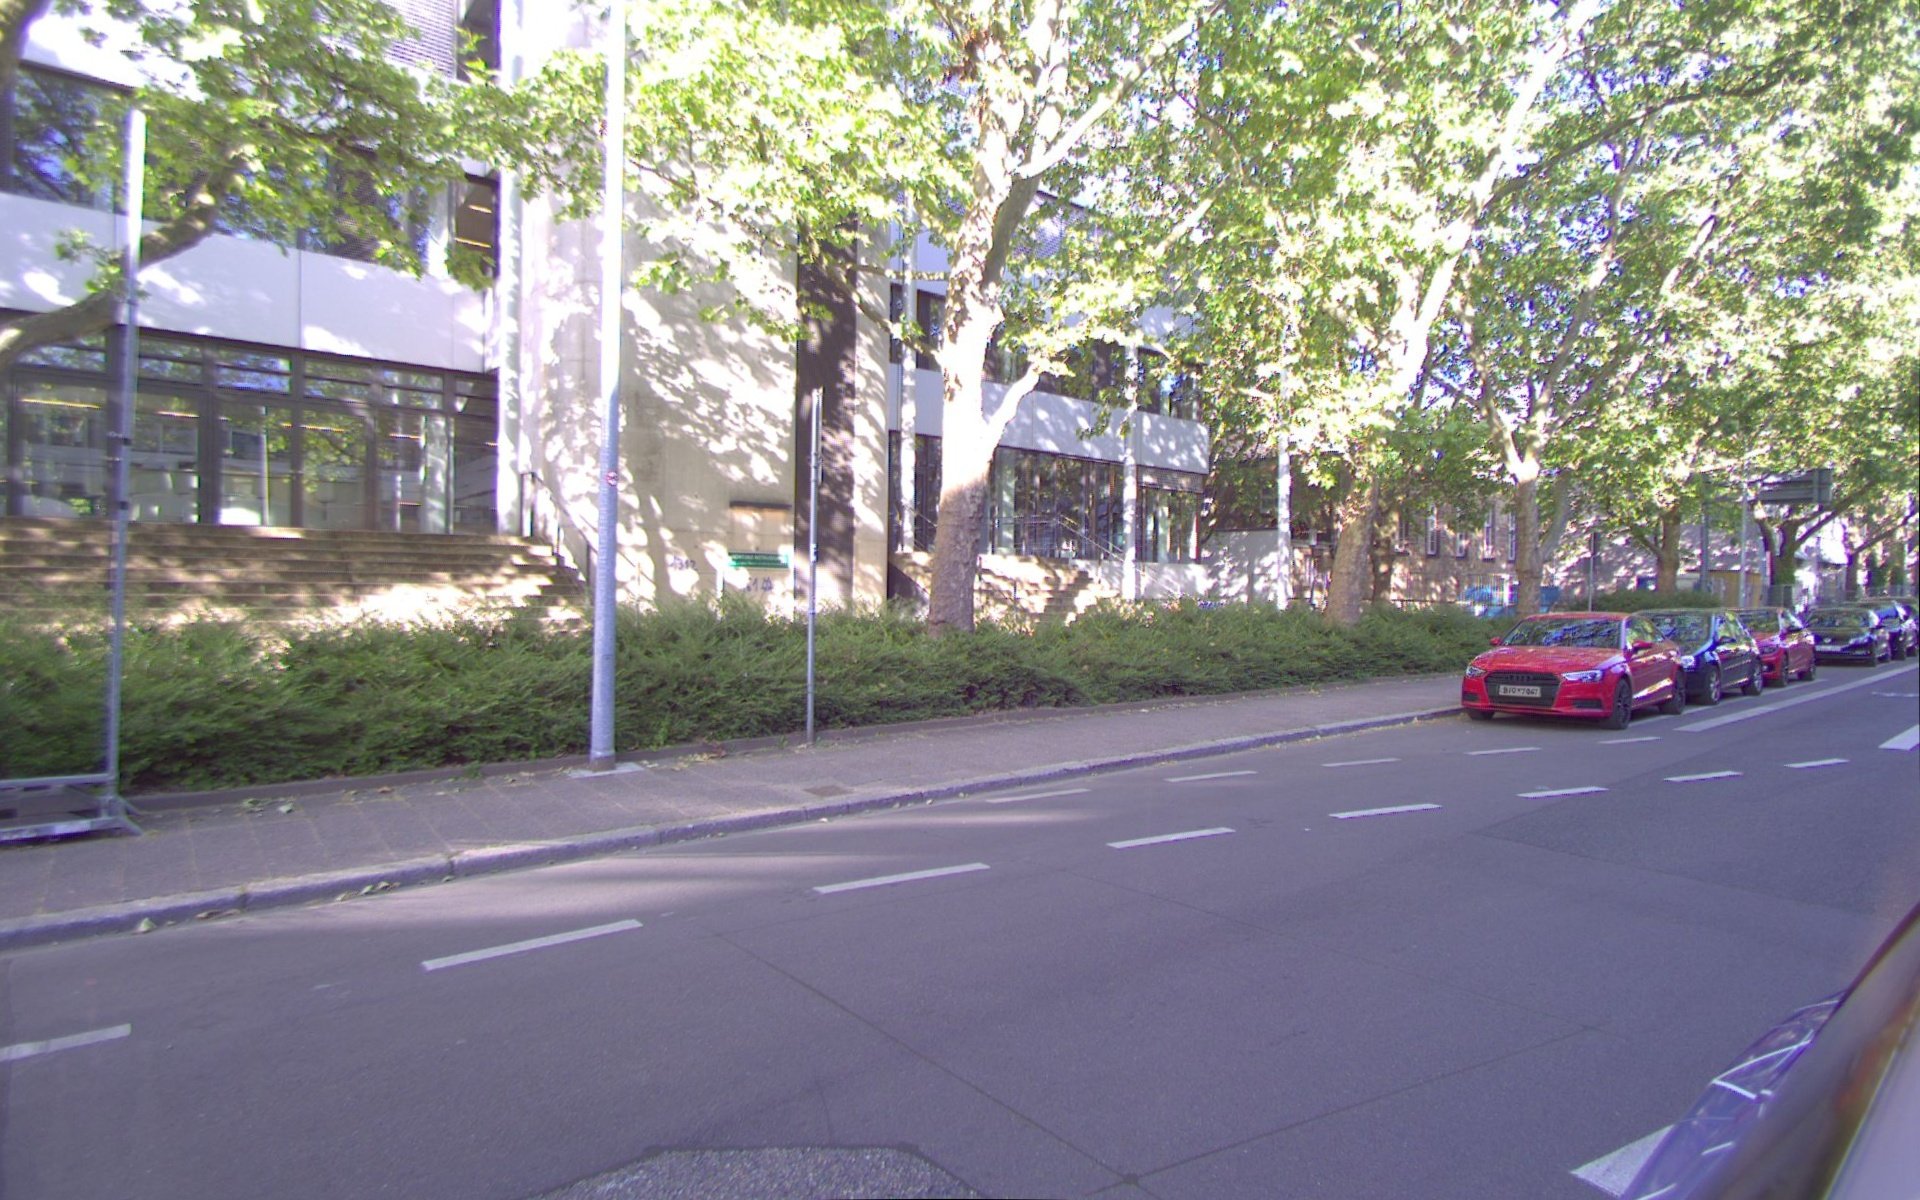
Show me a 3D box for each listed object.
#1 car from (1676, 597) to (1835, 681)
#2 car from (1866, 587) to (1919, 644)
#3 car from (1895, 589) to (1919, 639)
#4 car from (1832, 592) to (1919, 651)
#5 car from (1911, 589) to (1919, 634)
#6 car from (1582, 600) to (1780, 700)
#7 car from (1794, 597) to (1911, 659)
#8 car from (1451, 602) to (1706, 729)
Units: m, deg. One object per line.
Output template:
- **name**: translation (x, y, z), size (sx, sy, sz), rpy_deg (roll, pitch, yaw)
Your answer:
- **car**: translation (15.862, 0.696, 20.104), size (4.092, 1.502, 1.815), rpy_deg (0, -1, -42)
- **car**: translation (31.059, 0.483, 33.011), size (4.271, 1.777, 1.788), rpy_deg (0, -1, -42)
- **car**: translation (35.912, 0.477, 37.247), size (4.475, 1.777, 1.788), rpy_deg (0, -1, -42)
- **car**: translation (26.599, 0.583, 29.129), size (4.092, 1.573, 1.788), rpy_deg (0, -1, -42)
- **car**: translation (39.629, 0.432, 40.397), size (4.475, 1.777, 2.040), rpy_deg (0, -1, -42)
- **car**: translation (11.956, 0.734, 16.683), size (4.092, 1.431, 1.815), rpy_deg (0, -1, -42)
- **car**: translation (23.053, 0.674, 26.097), size (4.092, 1.478, 1.788), rpy_deg (0, -1, -42)
- **car**: translation (8.363, 0.749, 13.543), size (4.092, 1.431, 1.815), rpy_deg (0, -1, -42)
